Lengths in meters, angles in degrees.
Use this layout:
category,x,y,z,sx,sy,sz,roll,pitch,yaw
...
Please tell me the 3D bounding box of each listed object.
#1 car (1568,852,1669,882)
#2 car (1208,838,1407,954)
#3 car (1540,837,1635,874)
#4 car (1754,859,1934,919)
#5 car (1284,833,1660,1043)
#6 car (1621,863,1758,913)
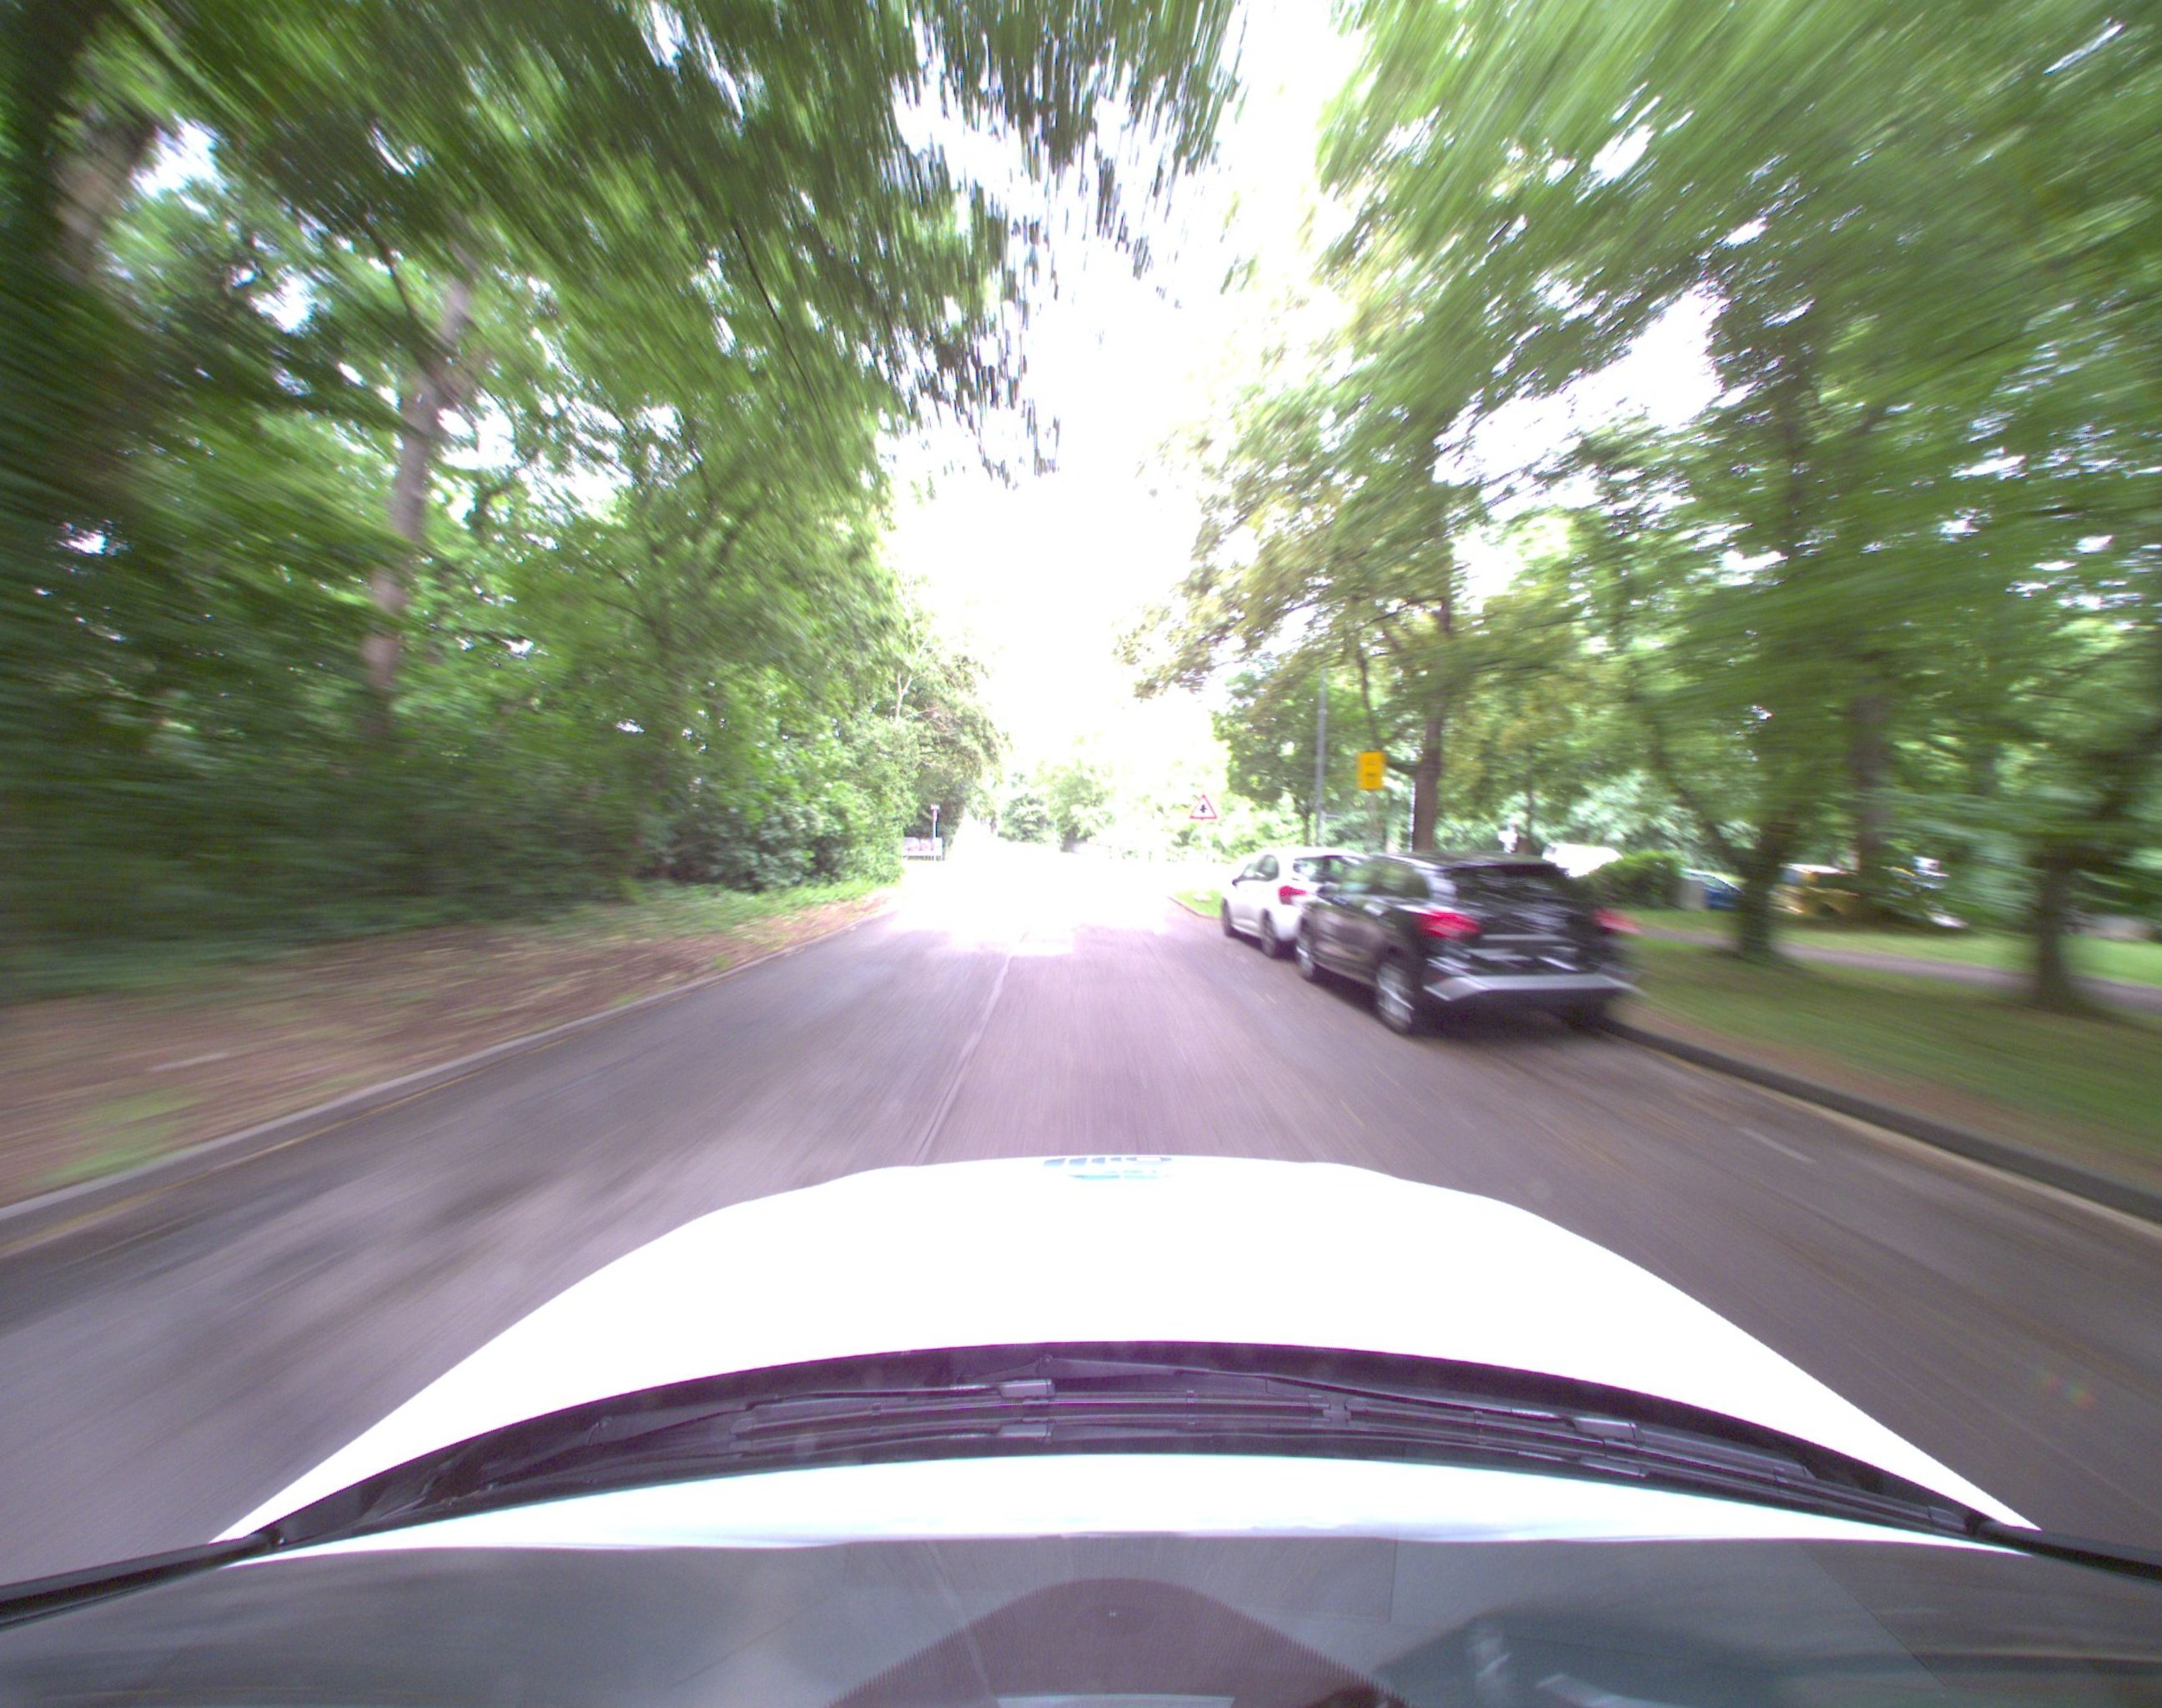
category,x,y,z,sx,sy,sz,roll,pitch,yaw
car,28.811,0.699,43.744,4.188,1.498,1.802,1,1,3
car,3.276,0.529,12.585,1.771,1.522,3.775,1,1,-5
car,28.998,0.089,46.746,4.188,2.013,2.002,1,1,3
car,26.783,1.186,28.724,4.373,1.848,1.836,2,1,7
car,3.405,0.592,8.099,1.768,1.522,4.184,1,1,1
car,21.841,1.178,29.388,3.494,1.570,1.838,2,1,11
